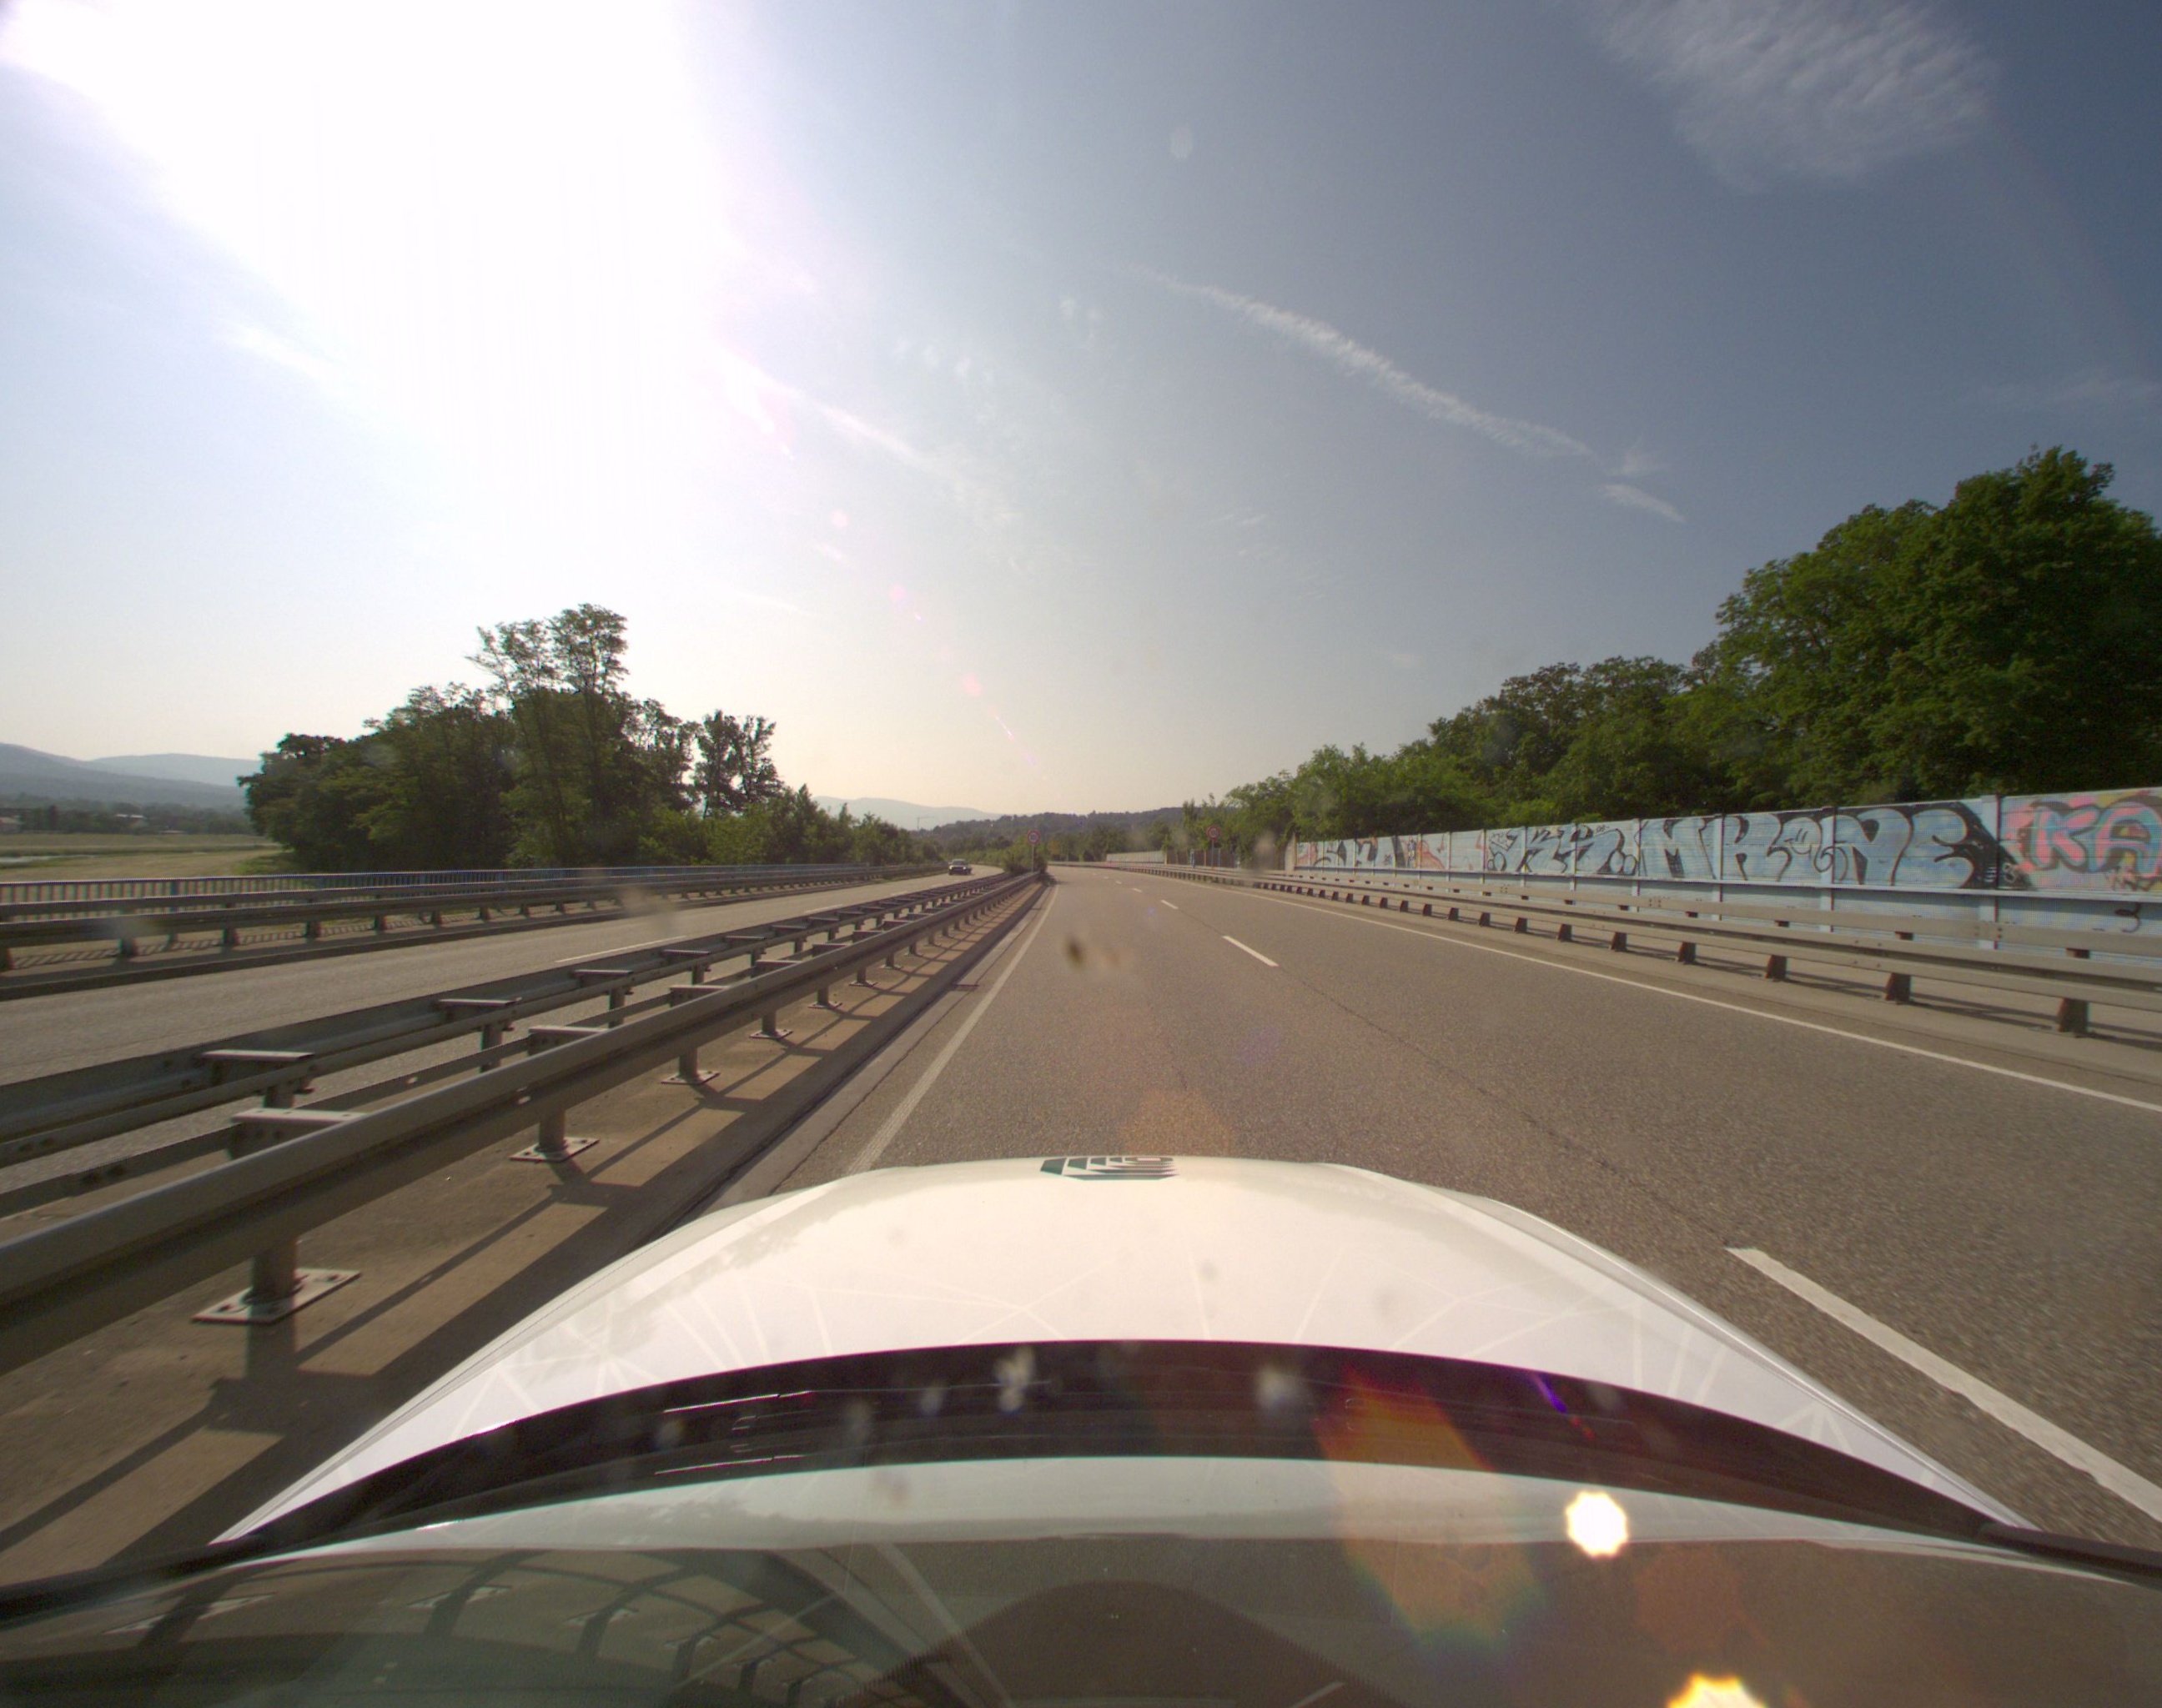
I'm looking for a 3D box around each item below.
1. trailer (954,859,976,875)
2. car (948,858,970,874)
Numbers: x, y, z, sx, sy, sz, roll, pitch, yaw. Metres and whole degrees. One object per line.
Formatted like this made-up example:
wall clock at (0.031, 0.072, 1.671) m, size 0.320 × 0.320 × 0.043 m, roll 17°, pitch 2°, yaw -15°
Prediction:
trailer at (-12.521, 1.372, 88.080) m, size 1.713 × 1.578 × 4.810 m, roll 1°, pitch 0°, yaw -1°
car at (-12.509, 1.235, 83.664) m, size 1.719 × 1.596 × 3.998 m, roll 1°, pitch 0°, yaw -1°
